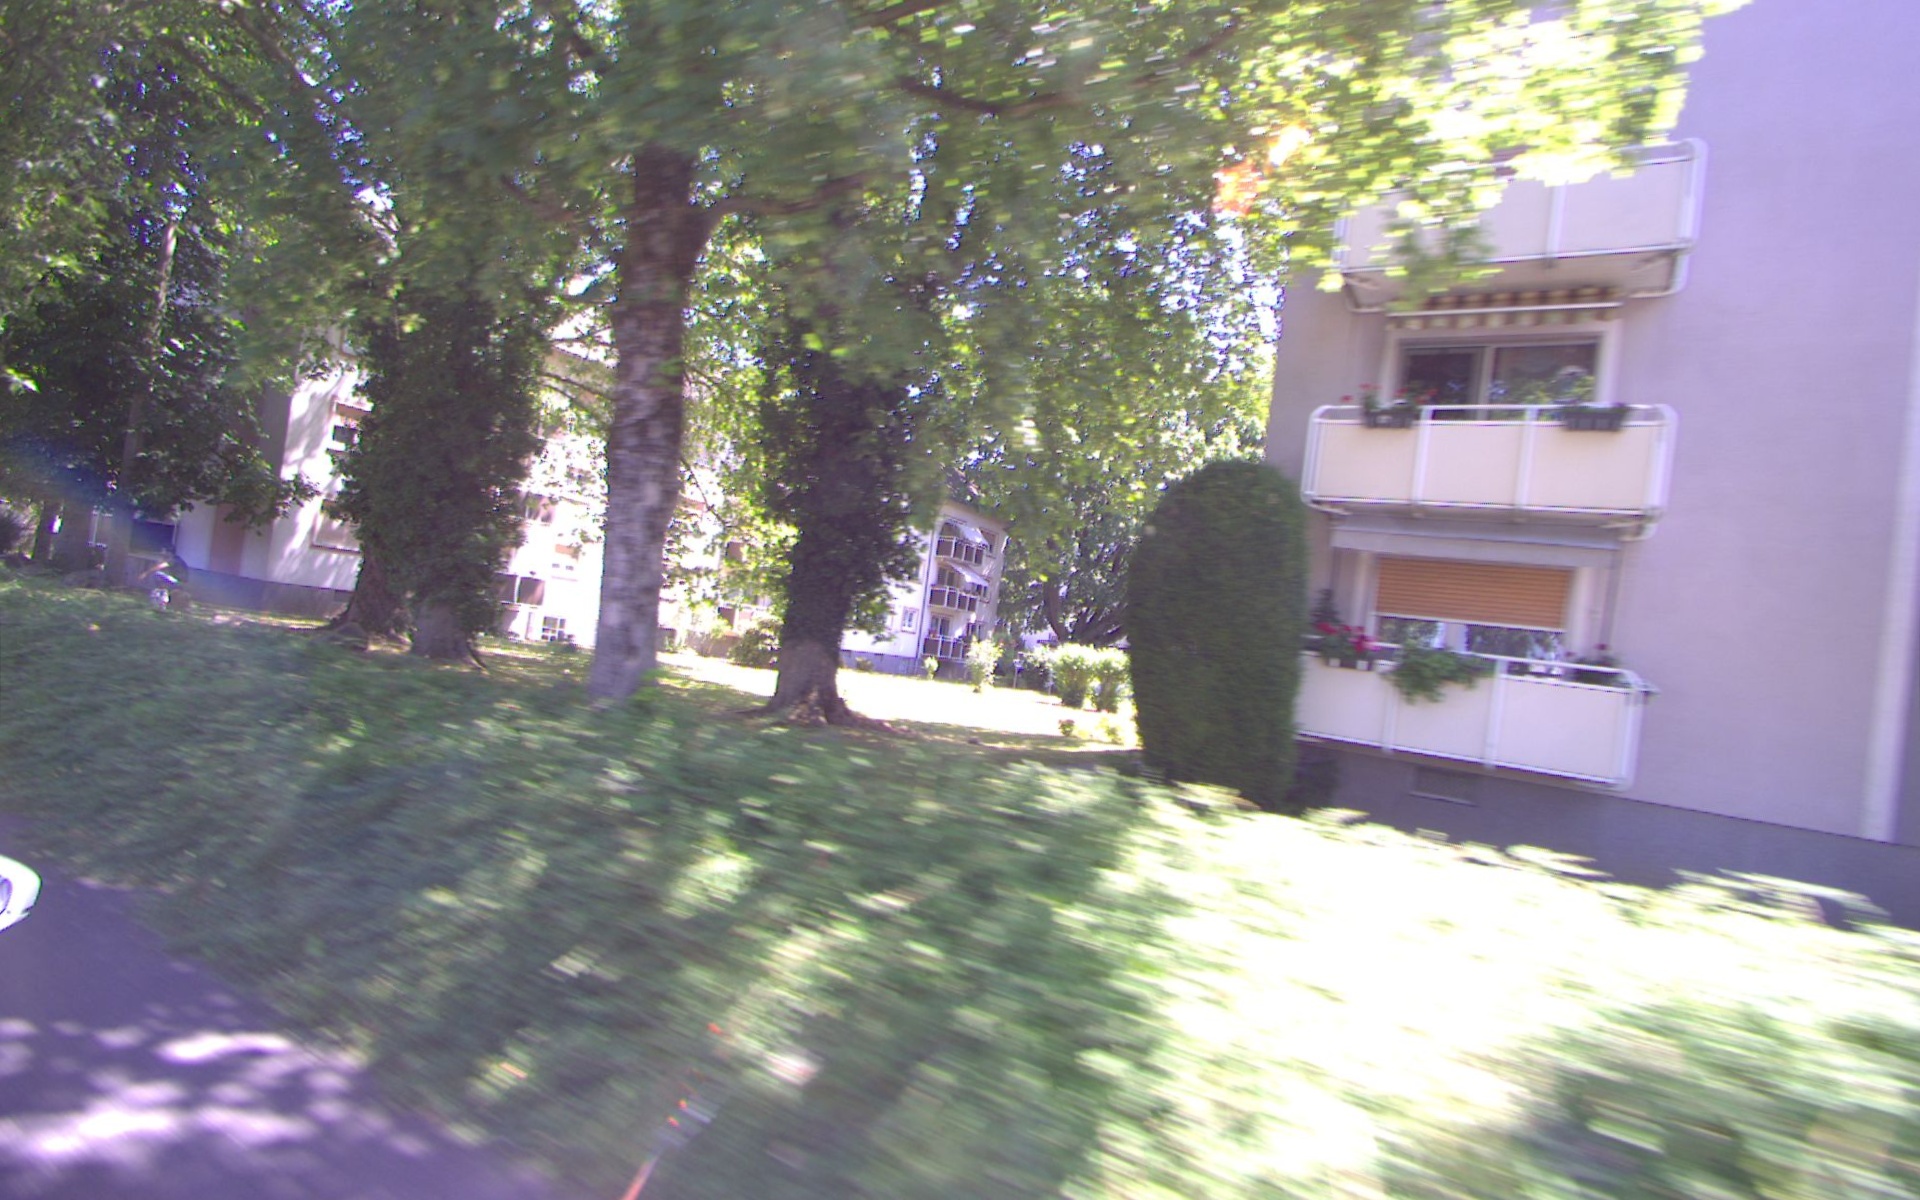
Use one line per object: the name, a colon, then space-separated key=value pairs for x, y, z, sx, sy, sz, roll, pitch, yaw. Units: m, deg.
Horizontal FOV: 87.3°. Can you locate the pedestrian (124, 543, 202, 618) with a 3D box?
pedestrian: x=-15.869 y=-0.385 z=20.038 sx=1.055 sy=1.307 sz=0.938 roll=6 pitch=-3 yaw=43
